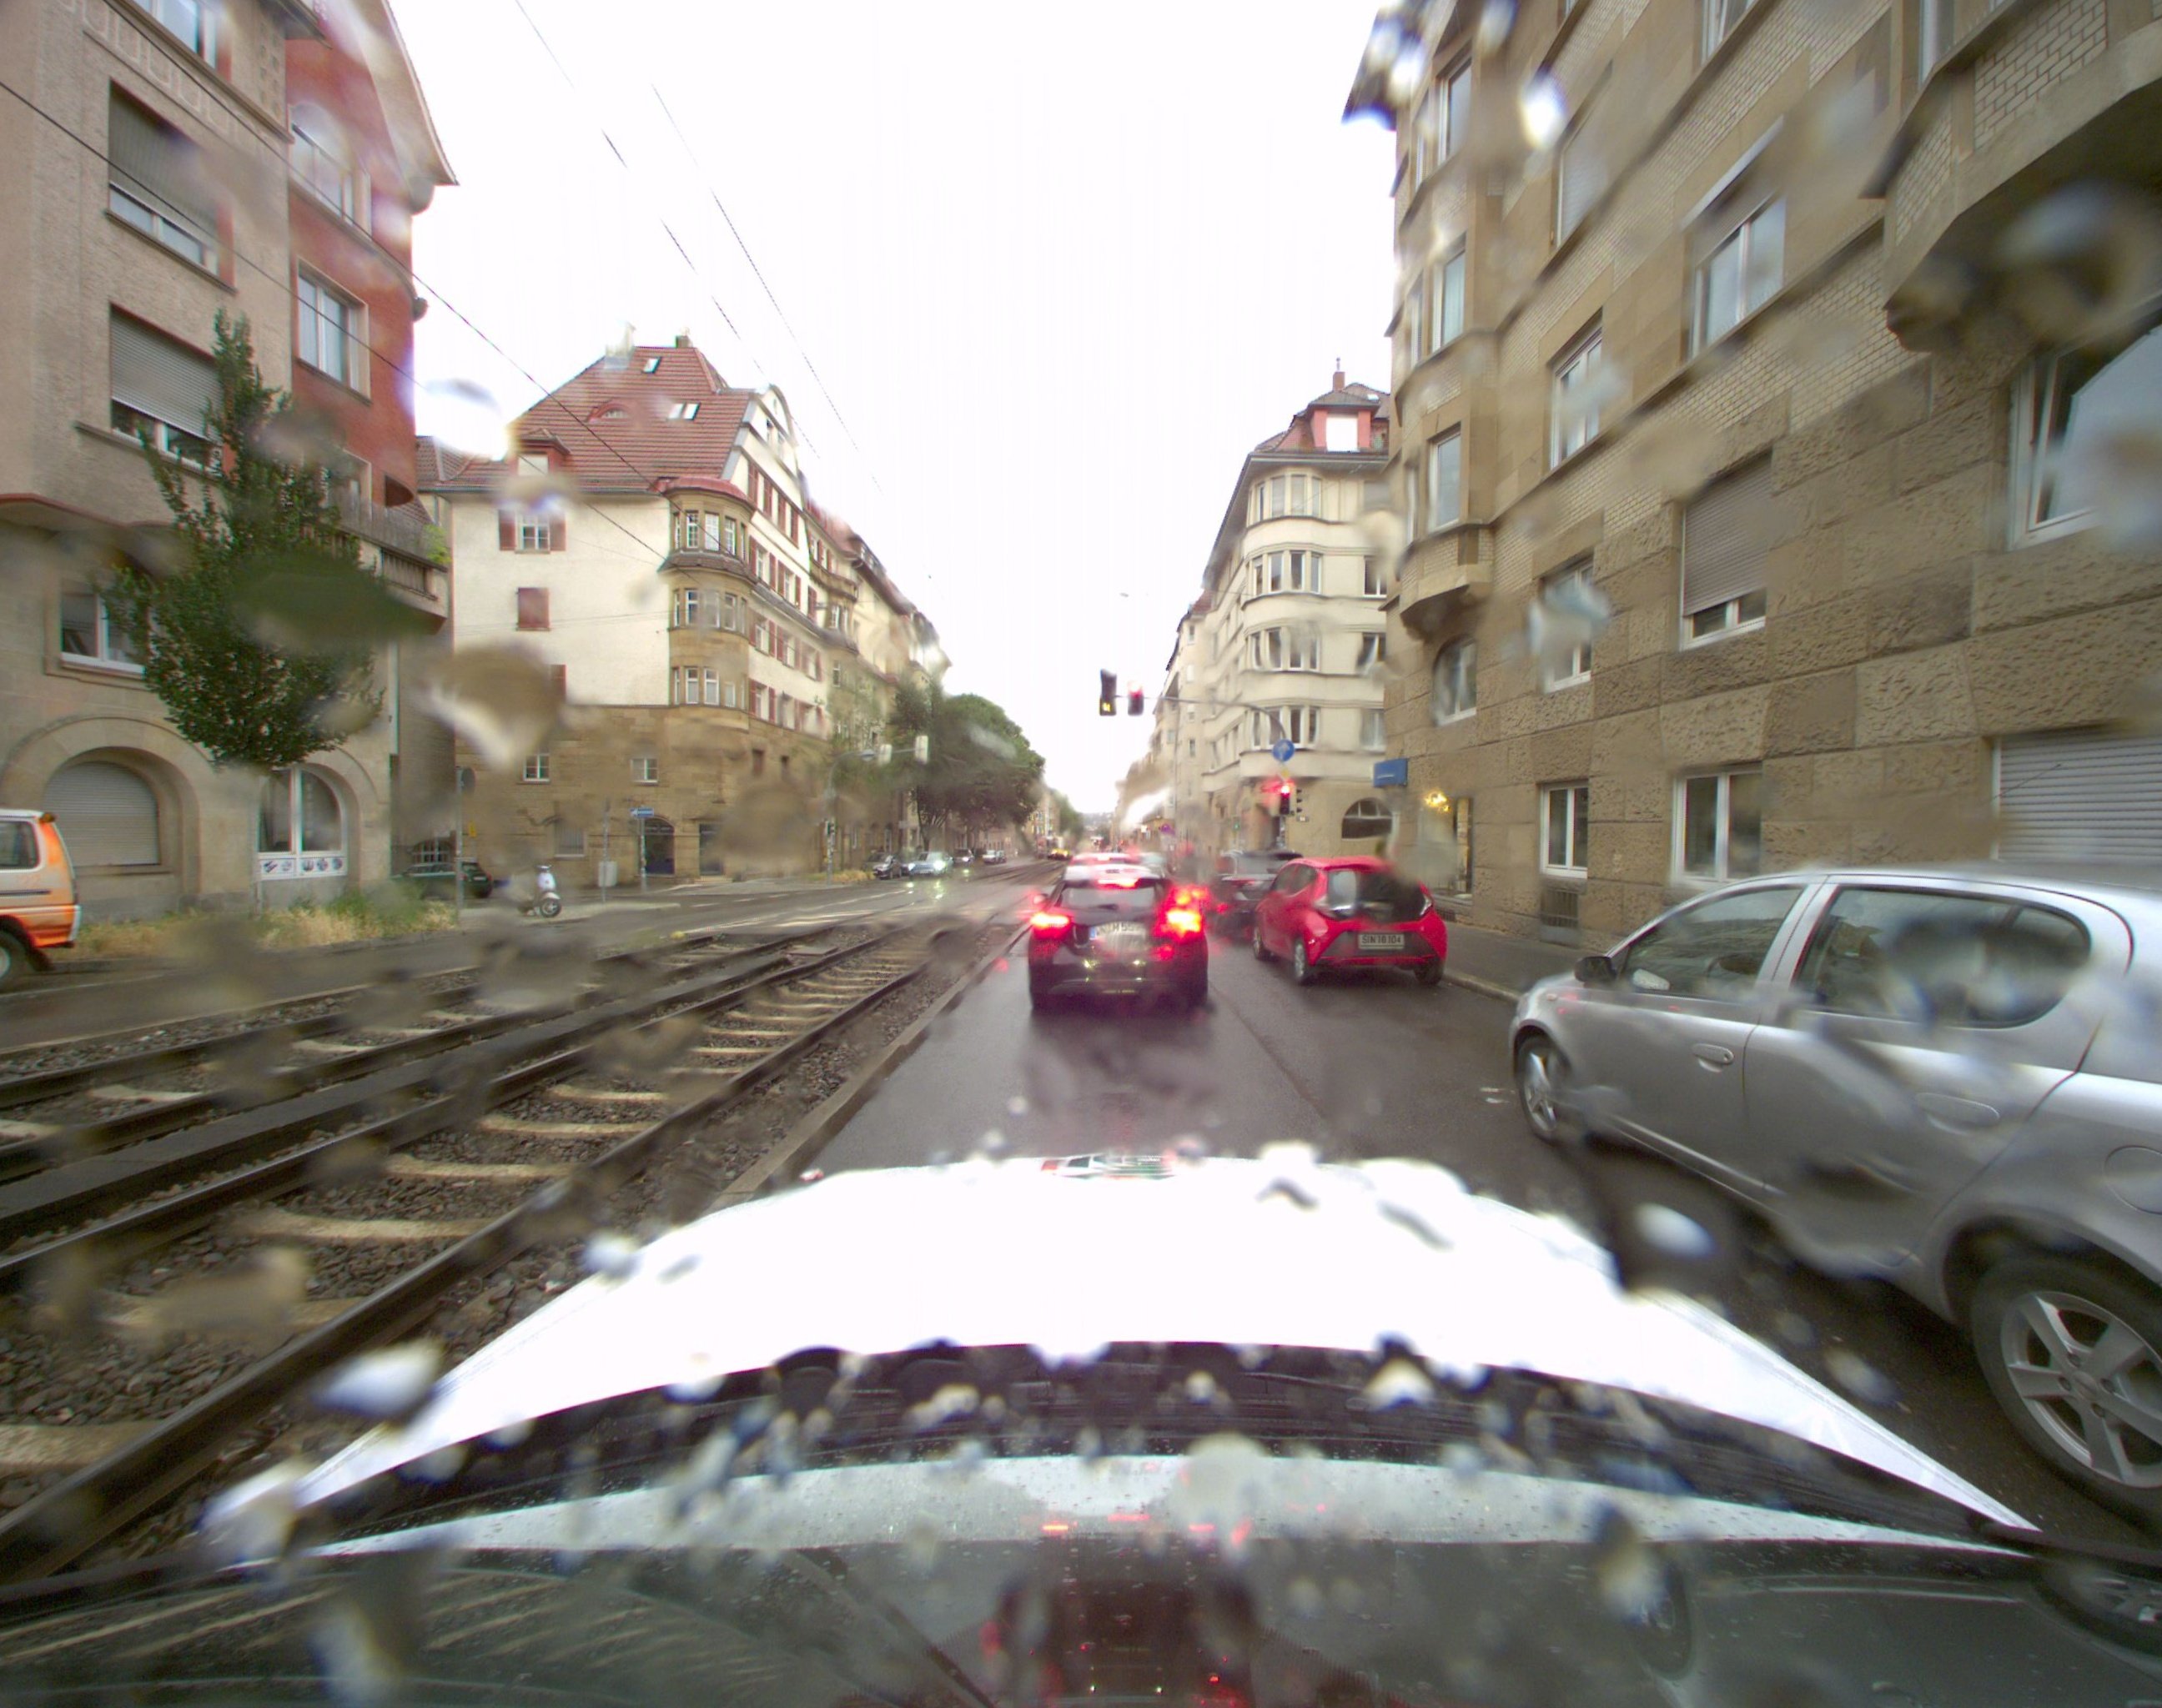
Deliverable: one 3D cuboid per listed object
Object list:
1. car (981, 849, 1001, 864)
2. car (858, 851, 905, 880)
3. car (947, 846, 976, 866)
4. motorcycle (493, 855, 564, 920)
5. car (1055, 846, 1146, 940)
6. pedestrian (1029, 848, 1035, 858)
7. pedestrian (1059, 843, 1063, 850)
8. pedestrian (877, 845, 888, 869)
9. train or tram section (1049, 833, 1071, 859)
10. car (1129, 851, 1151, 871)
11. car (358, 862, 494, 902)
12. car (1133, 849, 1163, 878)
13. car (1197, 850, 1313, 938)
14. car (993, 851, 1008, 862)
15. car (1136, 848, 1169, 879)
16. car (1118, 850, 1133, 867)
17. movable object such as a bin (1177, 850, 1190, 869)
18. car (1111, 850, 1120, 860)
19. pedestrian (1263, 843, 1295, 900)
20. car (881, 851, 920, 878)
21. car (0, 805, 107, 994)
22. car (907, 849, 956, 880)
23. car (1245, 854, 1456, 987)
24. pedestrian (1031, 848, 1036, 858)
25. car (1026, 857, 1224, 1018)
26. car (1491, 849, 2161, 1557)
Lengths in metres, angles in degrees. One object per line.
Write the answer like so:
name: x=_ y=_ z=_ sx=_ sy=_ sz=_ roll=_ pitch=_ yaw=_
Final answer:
car: x=-9.861 y=0.303 z=89.598 sx=1.583 sy=1.581 sz=3.920 roll=0 pitch=-1 yaw=2
car: x=-11.250 y=0.638 z=46.118 sx=1.747 sy=1.552 sz=4.033 roll=0 pitch=-1 yaw=-2
car: x=-10.591 y=0.211 z=72.141 sx=1.868 sy=1.737 sz=3.920 roll=0 pitch=-1 yaw=2
motorcycle: x=-12.062 y=0.711 z=17.767 sx=1.577 sy=1.365 sz=0.628 roll=-1 pitch=-1 yaw=28
car: x=0.398 y=0.696 z=15.960 sx=1.559 sy=1.609 sz=3.815 roll=0 pitch=-1 yaw=2
pedestrian: x=-10.612 y=-0.226 z=175.671 sx=1.049 sy=1.957 sz=1.043 roll=1 pitch=0 yaw=3
pedestrian: x=-5.535 y=-2.129 z=229.379 sx=1.049 sy=1.957 sz=1.043 roll=1 pitch=0 yaw=3
pedestrian: x=-14.017 y=0.224 z=57.535 sx=0.629 sy=1.672 sz=0.702 roll=0 pitch=-1 yaw=-3
train or tram section: x=-3.137 y=-1.111 z=125.154 sx=2.772 sy=3.861 sz=10.433 roll=0 pitch=-1 yaw=2
car: x=4.421 y=0.521 z=61.584 sx=1.539 sy=1.486 sz=3.549 roll=0 pitch=0 yaw=2
car: x=-24.379 y=1.013 z=30.410 sx=3.633 sy=1.404 sz=1.699 roll=0 pitch=-1 yaw=-3
car: x=3.848 y=0.519 z=47.177 sx=1.539 sy=1.590 sz=3.549 roll=0 pitch=0 yaw=2
car: x=3.248 y=0.684 z=15.810 sx=1.539 sy=1.486 sz=3.831 roll=0 pitch=0 yaw=2
car: x=-9.791 y=0.289 z=99.014 sx=1.443 sy=1.331 sz=3.271 roll=0 pitch=-1 yaw=0
car: x=3.707 y=0.476 z=42.702 sx=1.539 sy=1.590 sz=3.549 roll=0 pitch=0 yaw=2
car: x=4.031 y=0.395 z=73.674 sx=1.289 sy=1.442 sz=2.930 roll=0 pitch=0 yaw=2
movable object such as a bin: x=7.479 y=0.414 z=59.557 sx=0.873 sy=1.389 sz=0.984 roll=-1 pitch=-1 yaw=5
car: x=5.741 y=0.202 z=135.835 sx=1.538 sy=1.636 sz=3.688 roll=0 pitch=0 yaw=3
pedestrian: x=6.226 y=0.552 z=25.676 sx=0.739 sy=1.748 sz=1.111 roll=0 pitch=-1 yaw=2
car: x=-11.281 y=0.643 z=51.153 sx=1.713 sy=1.611 sz=3.914 roll=0 pitch=-1 yaw=-3
car: x=-12.117 y=0.468 z=7.211 sx=1.725 sy=1.975 sz=4.341 roll=0 pitch=-1 yaw=0
car: x=-8.265 y=0.578 z=45.432 sx=1.891 sy=1.588 sz=3.974 roll=0 pitch=-1 yaw=2
car: x=3.282 y=0.730 z=10.566 sx=1.637 sy=1.448 sz=3.298 roll=0 pitch=0 yaw=-1
pedestrian: x=-10.360 y=-0.216 z=176.937 sx=1.049 sy=1.957 sz=1.043 roll=1 pitch=0 yaw=3
car: x=0.472 y=0.777 z=9.565 sx=1.822 sy=1.458 sz=4.105 roll=0 pitch=0 yaw=2
car: x=3.152 y=0.737 z=3.101 sx=1.608 sy=1.467 sz=3.314 roll=-2 pitch=0 yaw=3
